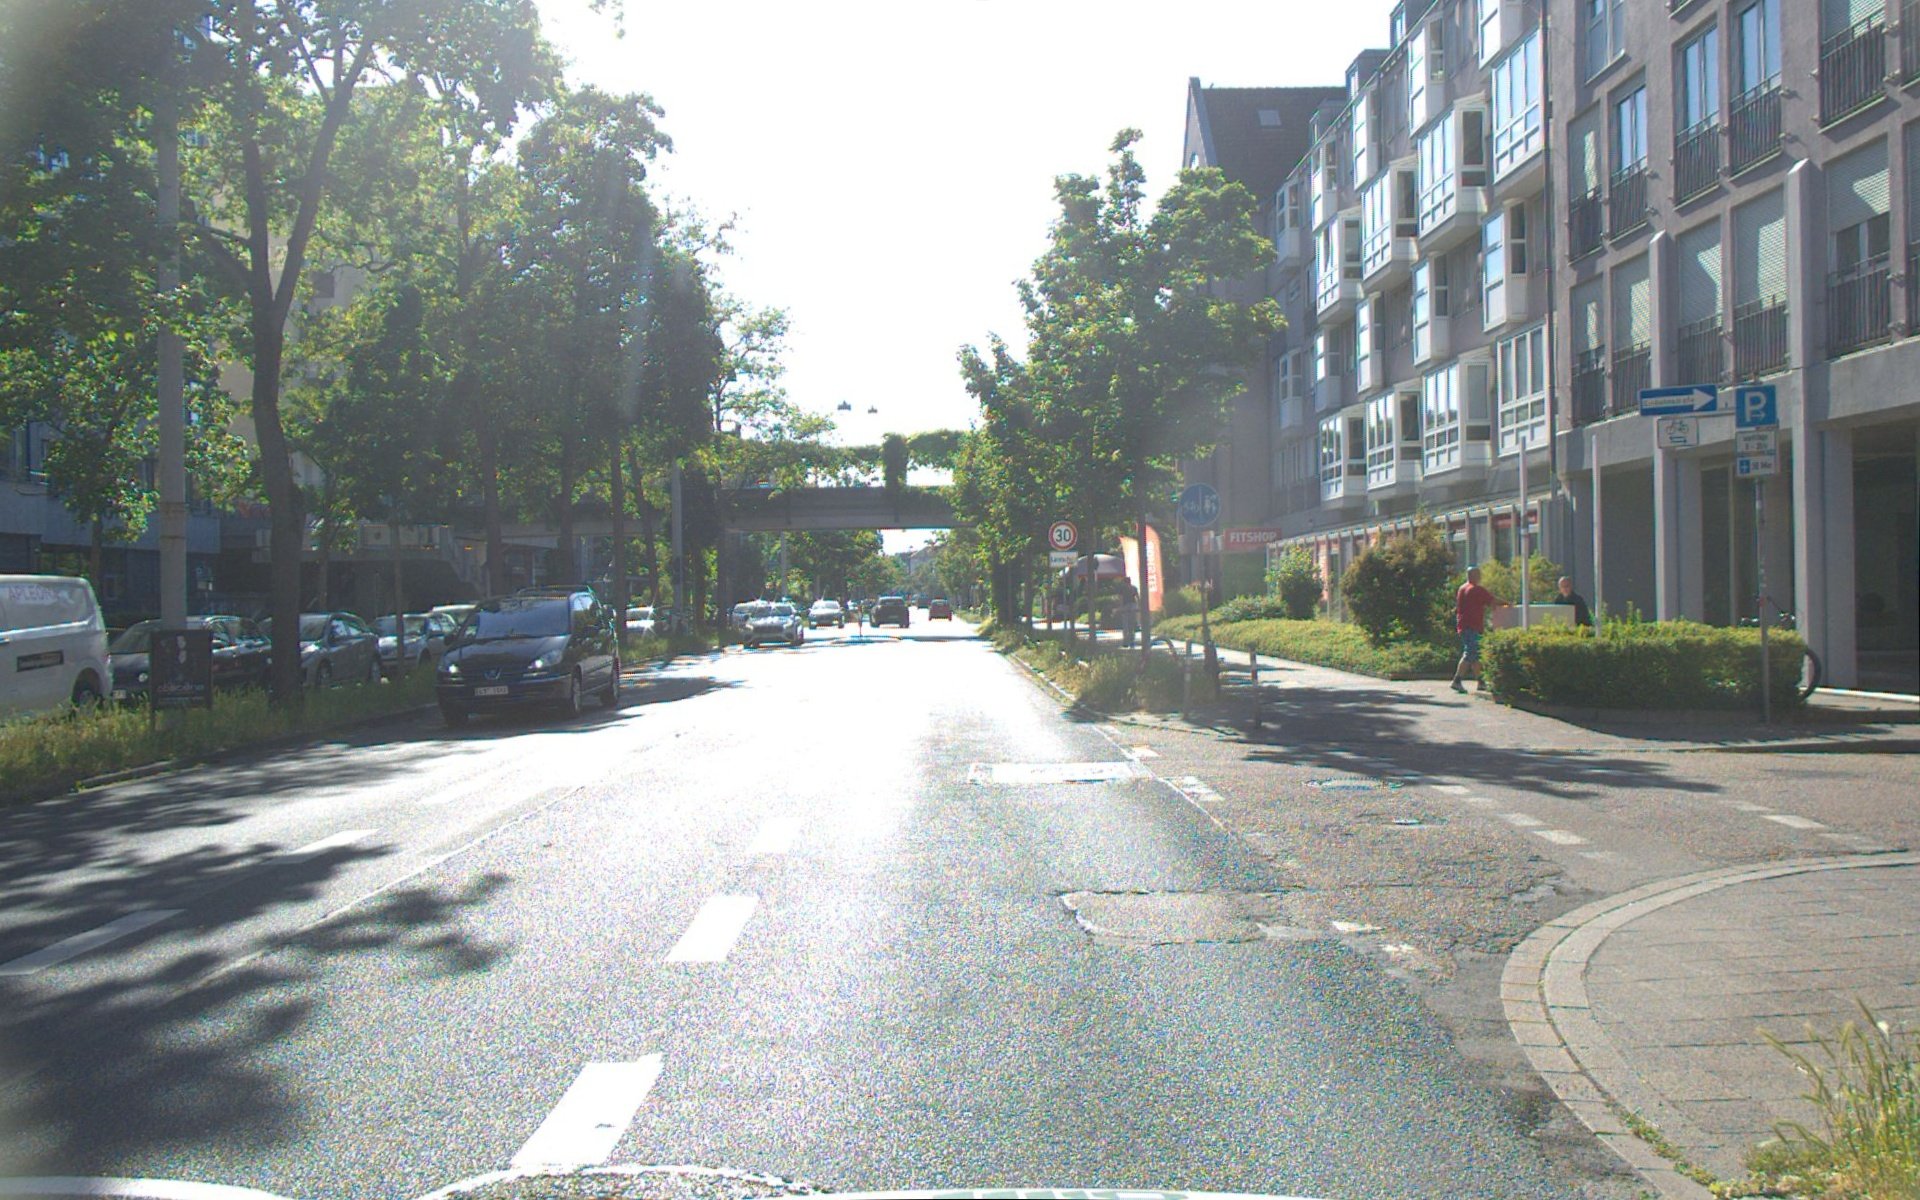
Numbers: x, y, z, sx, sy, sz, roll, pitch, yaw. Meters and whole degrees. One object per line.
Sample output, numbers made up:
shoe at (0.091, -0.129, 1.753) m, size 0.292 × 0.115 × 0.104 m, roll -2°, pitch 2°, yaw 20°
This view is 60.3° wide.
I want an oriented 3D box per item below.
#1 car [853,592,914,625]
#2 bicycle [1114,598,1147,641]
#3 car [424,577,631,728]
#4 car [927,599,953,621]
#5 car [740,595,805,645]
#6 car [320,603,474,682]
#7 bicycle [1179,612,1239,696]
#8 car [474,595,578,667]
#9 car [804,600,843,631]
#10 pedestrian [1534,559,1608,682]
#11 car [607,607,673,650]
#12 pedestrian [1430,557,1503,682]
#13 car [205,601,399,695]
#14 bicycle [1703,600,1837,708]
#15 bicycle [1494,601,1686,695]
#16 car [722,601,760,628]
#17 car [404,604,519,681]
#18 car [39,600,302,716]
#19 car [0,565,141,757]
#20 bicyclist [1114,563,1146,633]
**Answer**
car at (-3.964, 0.438, 84.834) m, size 1.956 × 1.628 × 4.114 m, roll -1°, pitch 0°, yaw -21°
bicycle at (4.276, 0.492, 41.590) m, size 0.577 × 1.045 × 1.859 m, roll -1°, pitch -1°, yaw -2°
car at (-6.044, 0.675, 23.663) m, size 1.819 × 1.857 × 4.608 m, roll -3°, pitch 0°, yaw -2°
car at (-1.431, 0.694, 120.216) m, size 1.817 × 1.549 × 4.319 m, roll 0°, pitch 0°, yaw 0°
car at (-6.527, 0.670, 57.943) m, size 1.818 × 1.595 × 4.713 m, roll -3°, pitch 0°, yaw -2°
car at (-11.751, 0.847, 34.792) m, size 1.817 × 1.549 × 4.063 m, roll 0°, pitch 0°, yaw 0°
bicycle at (3.481, 0.726, 23.032) m, size 0.578 × 1.084 × 2.024 m, roll -1°, pitch 0°, yaw 15°
car at (-11.937, 0.816, 45.810) m, size 1.818 × 1.882 × 4.560 m, roll 0°, pitch 0°, yaw -2°
car at (-7.188, 0.802, 87.492) m, size 1.818 × 1.465 × 4.317 m, roll -3°, pitch 0°, yaw -2°
pedestrian at (8.425, 0.282, 22.814) m, size 0.641 × 1.631 × 0.602 m, roll -4°, pitch -1°, yaw -7°
car at (-12.229, 1.077, 63.443) m, size 1.818 × 1.549 × 4.317 m, roll 0°, pitch 0°, yaw -2°
pedestrian at (6.856, 0.261, 22.406) m, size 0.641 × 1.631 × 0.602 m, roll -4°, pitch -1°, yaw -7°
car at (-11.626, 0.792, 29.559) m, size 1.818 × 1.549 × 4.317 m, roll 0°, pitch 0°, yaw -1°
bicycle at (9.212, 0.583, 18.909) m, size 0.670 × 1.045 × 2.205 m, roll -2°, pitch 2°, yaw 7°
bicycle at (7.996, 0.603, 21.032) m, size 2.151 × 1.045 × 0.687 m, roll -3°, pitch 2°, yaw 0°
car at (-12.826, 0.840, 97.002) m, size 1.818 × 1.549 × 4.075 m, roll 0°, pitch 0°, yaw -2°
car at (-11.933, 0.978, 39.886) m, size 1.820 × 1.713 × 4.658 m, roll 0°, pitch 0°, yaw -6°
car at (-11.440, 0.778, 24.319) m, size 1.745 × 1.549 × 4.319 m, roll 0°, pitch 0°, yaw 1°
car at (-11.584, 0.722, 18.987) m, size 1.942 × 2.112 × 5.193 m, roll -3°, pitch 0°, yaw -4°
bicyclist at (4.267, -0.042, 41.536) m, size 0.654 × 1.725 × 0.889 m, roll 0°, pitch -1°, yaw -2°
